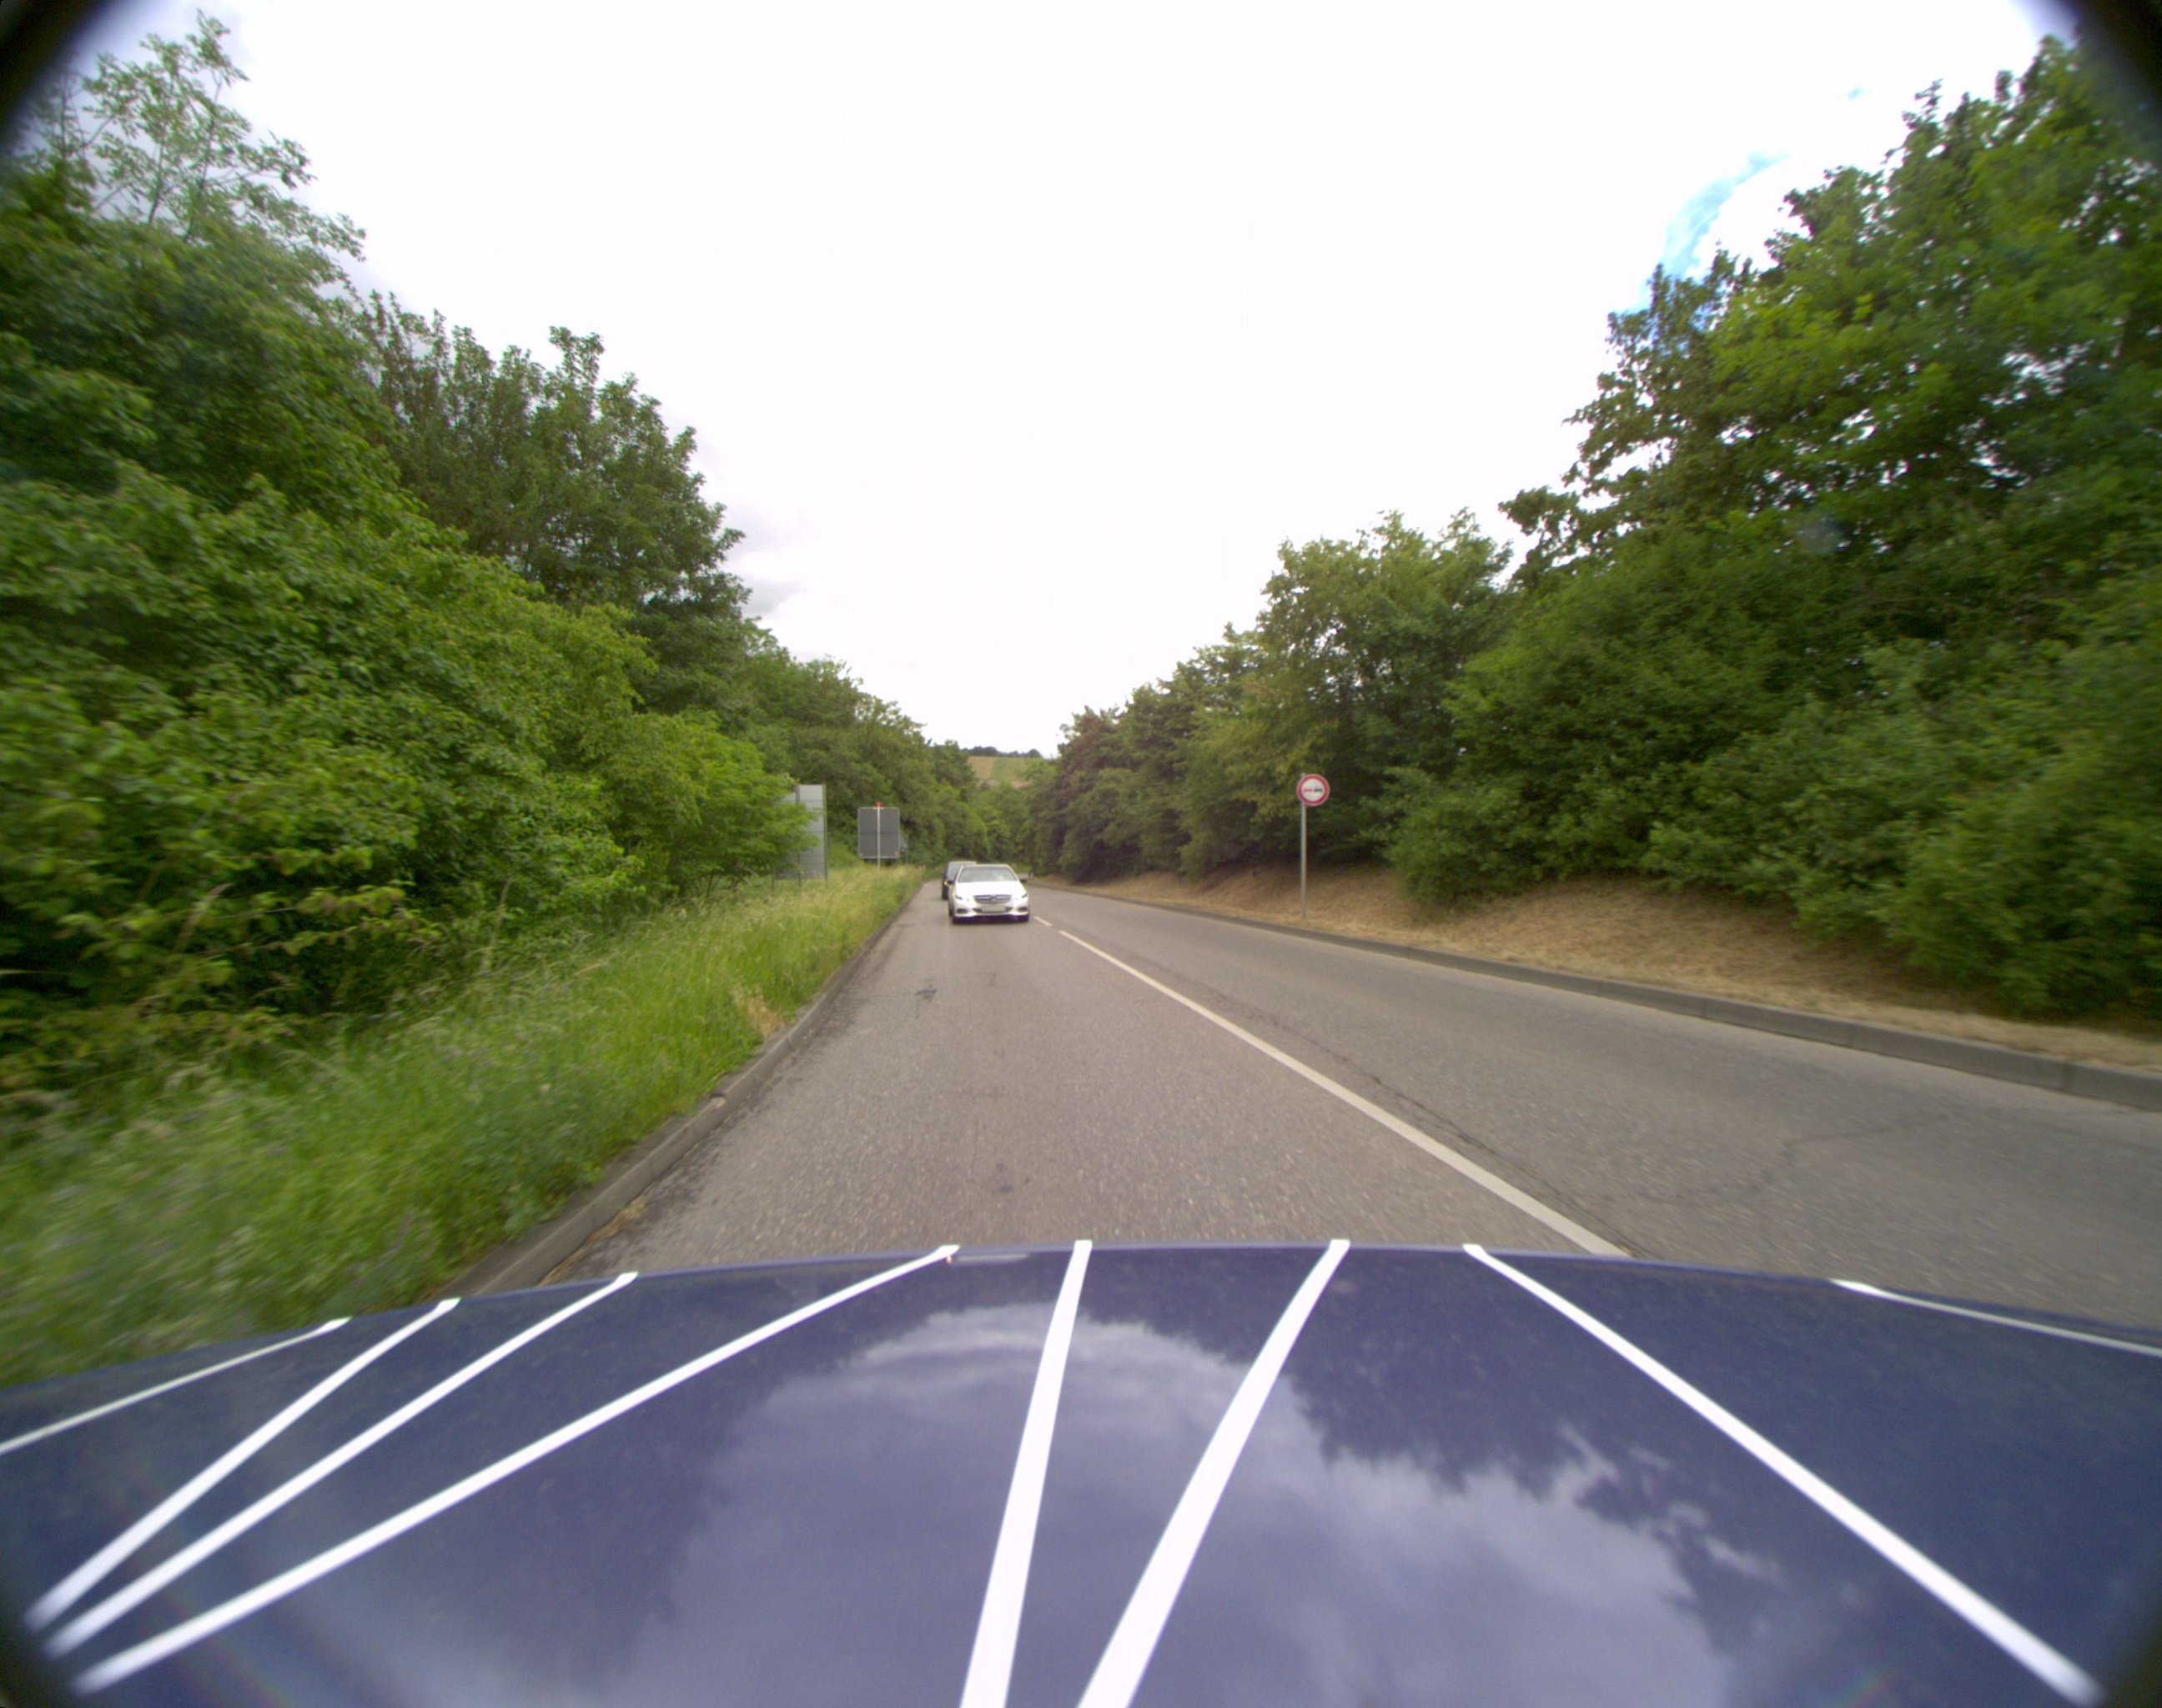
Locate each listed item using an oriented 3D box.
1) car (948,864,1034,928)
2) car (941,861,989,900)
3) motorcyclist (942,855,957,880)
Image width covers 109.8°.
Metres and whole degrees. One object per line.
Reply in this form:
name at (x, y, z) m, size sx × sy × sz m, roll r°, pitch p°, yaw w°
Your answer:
car at (-2.448, 1.000, 19.783) m, size 1.889 × 1.414 × 3.996 m, roll -1°, pitch 0°, yaw -11°
car at (-4.912, 1.070, 31.746) m, size 1.824 × 1.535 × 3.722 m, roll 0°, pitch -1°, yaw -11°
motorcyclist at (-7.835, 0.781, 45.295) m, size 0.819 × 1.457 × 0.786 m, roll -2°, pitch 1°, yaw -11°
